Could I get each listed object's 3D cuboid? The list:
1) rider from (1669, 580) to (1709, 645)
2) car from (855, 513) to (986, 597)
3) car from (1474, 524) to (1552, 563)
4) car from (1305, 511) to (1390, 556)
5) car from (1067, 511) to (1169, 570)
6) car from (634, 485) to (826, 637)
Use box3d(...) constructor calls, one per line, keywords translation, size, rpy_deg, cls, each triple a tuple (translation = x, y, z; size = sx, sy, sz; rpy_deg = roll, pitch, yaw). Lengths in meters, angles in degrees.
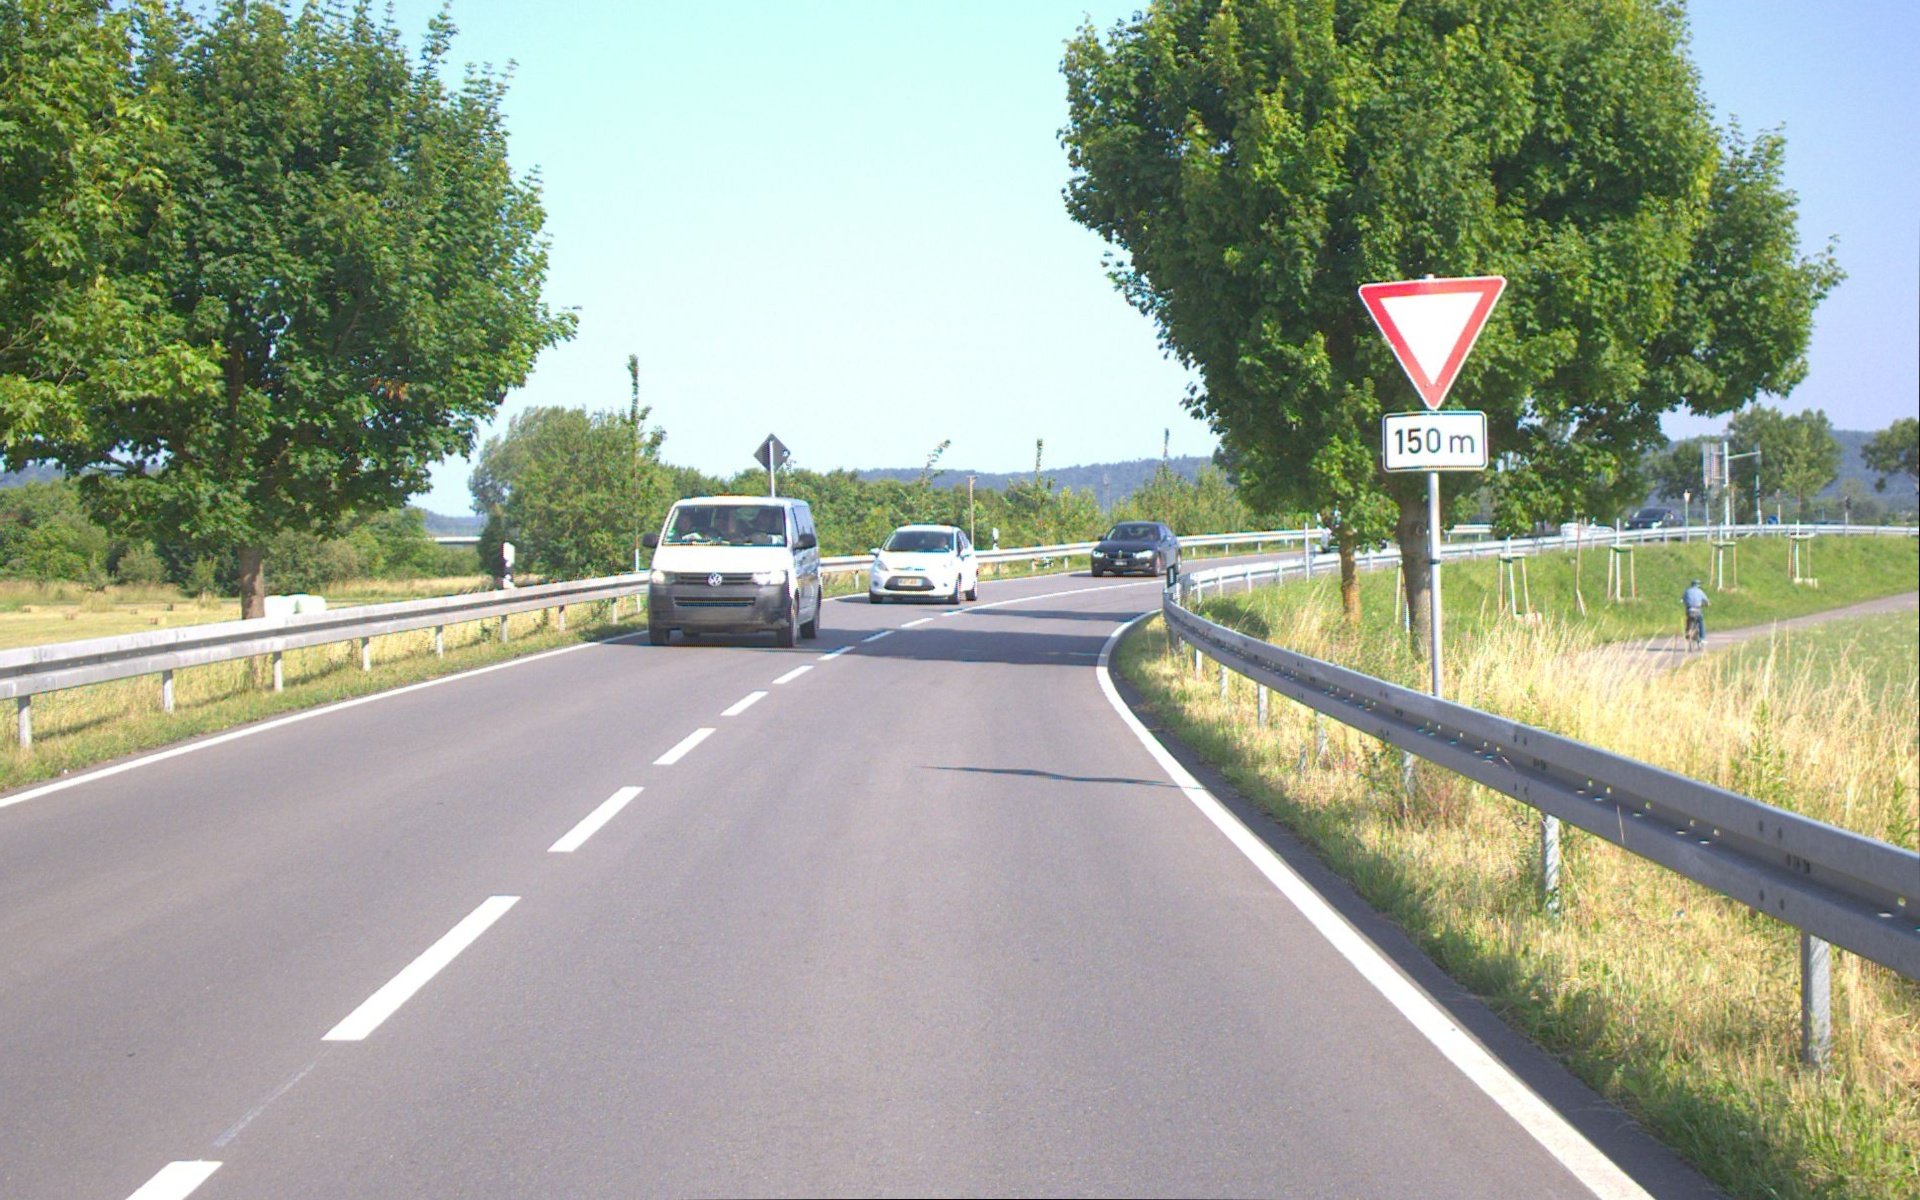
box3d(translation=(17.175, 0.287, 80.959), size=(0.610, 1.522, 1.824), rpy_deg=(1, 0, 22), cls="rider")
box3d(translation=(-0.715, -0.874, 65.803), size=(1.903, 1.527, 4.590), rpy_deg=(1, 1, 7), cls="car")
box3d(translation=(22.605, -2.315, 140.426), size=(1.996, 1.527, 4.585), rpy_deg=(1, 1, 24), cls="car")
box3d(translation=(13.575, -2.321, 120.253), size=(1.995, 1.527, 4.587), rpy_deg=(1, 1, 19), cls="car")
box3d(translation=(4.246, -1.600, 91.882), size=(1.994, 1.527, 4.589), rpy_deg=(1, 1, 12), cls="car")
box3d(translation=(-2.965, -0.538, 45.299), size=(1.994, 1.878, 4.591), rpy_deg=(1, 1, 3), cls="car")
